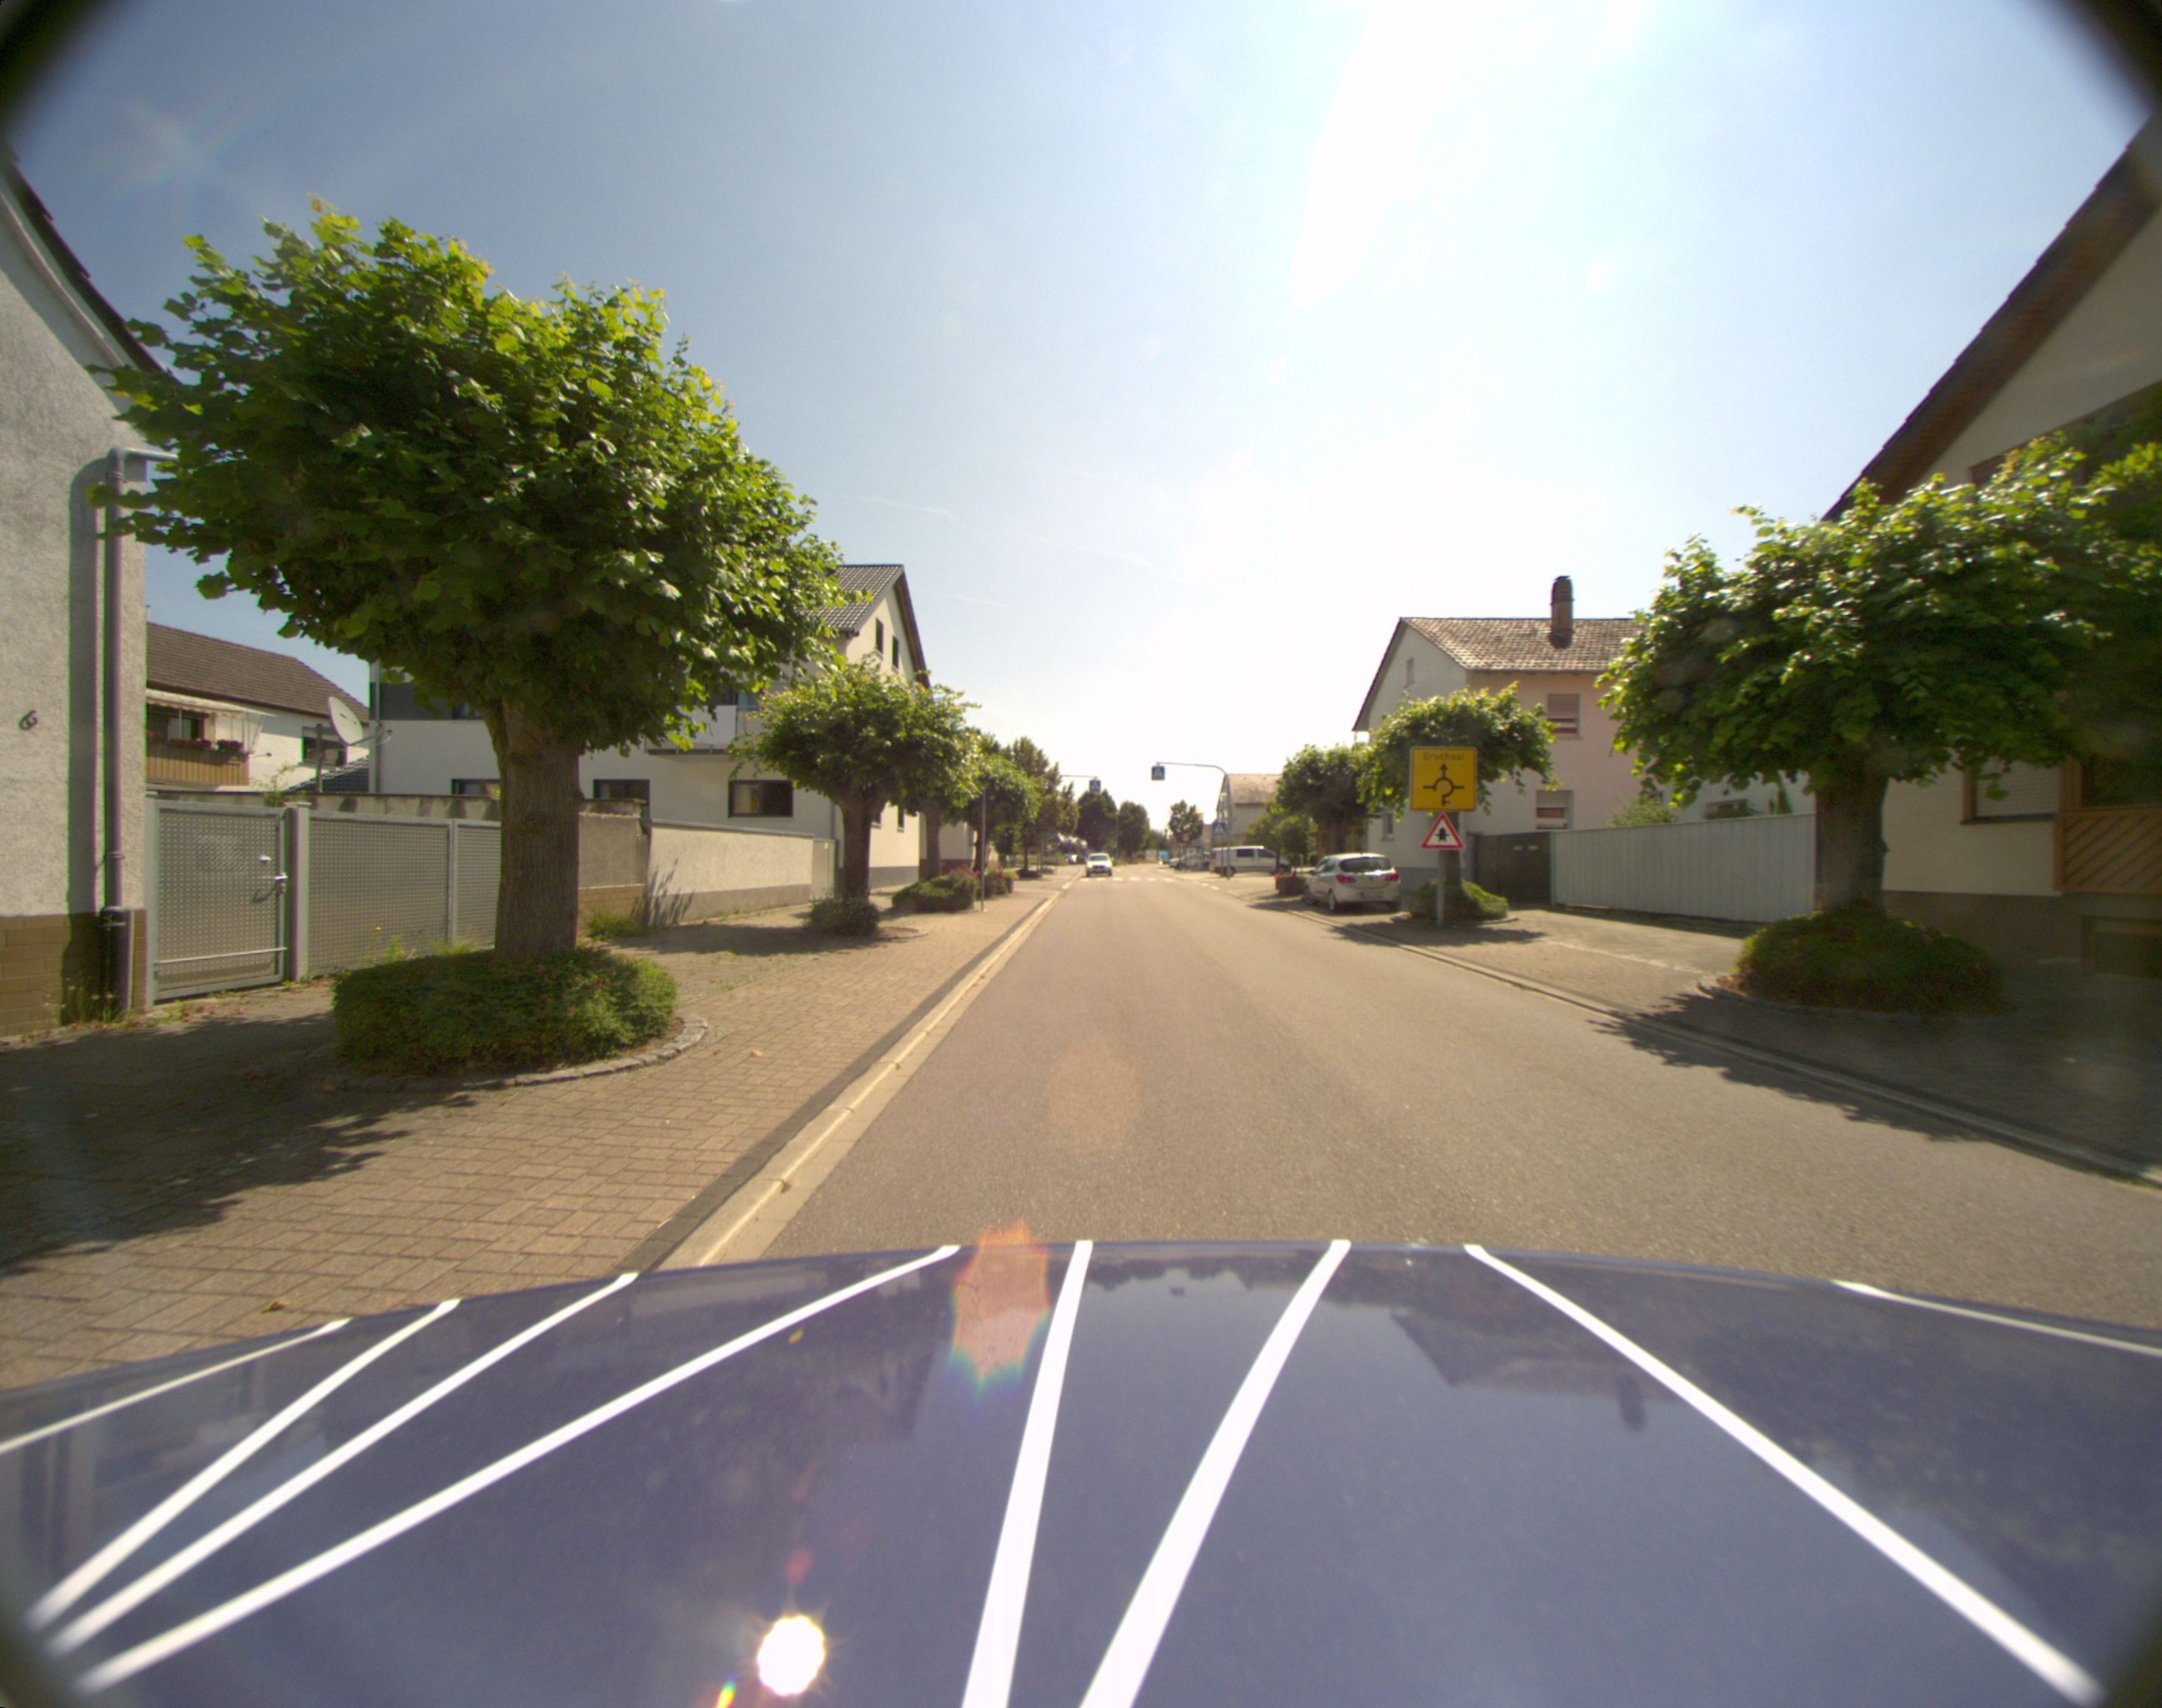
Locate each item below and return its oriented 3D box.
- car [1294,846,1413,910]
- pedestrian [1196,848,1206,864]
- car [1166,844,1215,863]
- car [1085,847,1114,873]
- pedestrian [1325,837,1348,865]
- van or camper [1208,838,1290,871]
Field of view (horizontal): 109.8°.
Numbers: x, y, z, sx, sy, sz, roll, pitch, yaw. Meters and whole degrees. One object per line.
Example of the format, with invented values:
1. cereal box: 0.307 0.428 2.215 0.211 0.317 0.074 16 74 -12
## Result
1. car: 7.234 0.561 20.639 1.829 1.474 4.132 -2 1 2
2. pedestrian: 10.352 0.148 65.405 0.787 1.350 0.607 -1 1 2
3. car: 10.398 -0.059 72.568 4.251 1.709 1.944 -2 1 -4
4. car: 1.329 0.384 52.763 1.857 1.604 4.135 -2 1 3
5. pedestrian: 16.281 -0.192 48.447 1.072 1.765 0.931 -1 1 -35
6. van or camper: 10.635 0.040 48.299 4.752 1.851 2.000 -2 0 1
